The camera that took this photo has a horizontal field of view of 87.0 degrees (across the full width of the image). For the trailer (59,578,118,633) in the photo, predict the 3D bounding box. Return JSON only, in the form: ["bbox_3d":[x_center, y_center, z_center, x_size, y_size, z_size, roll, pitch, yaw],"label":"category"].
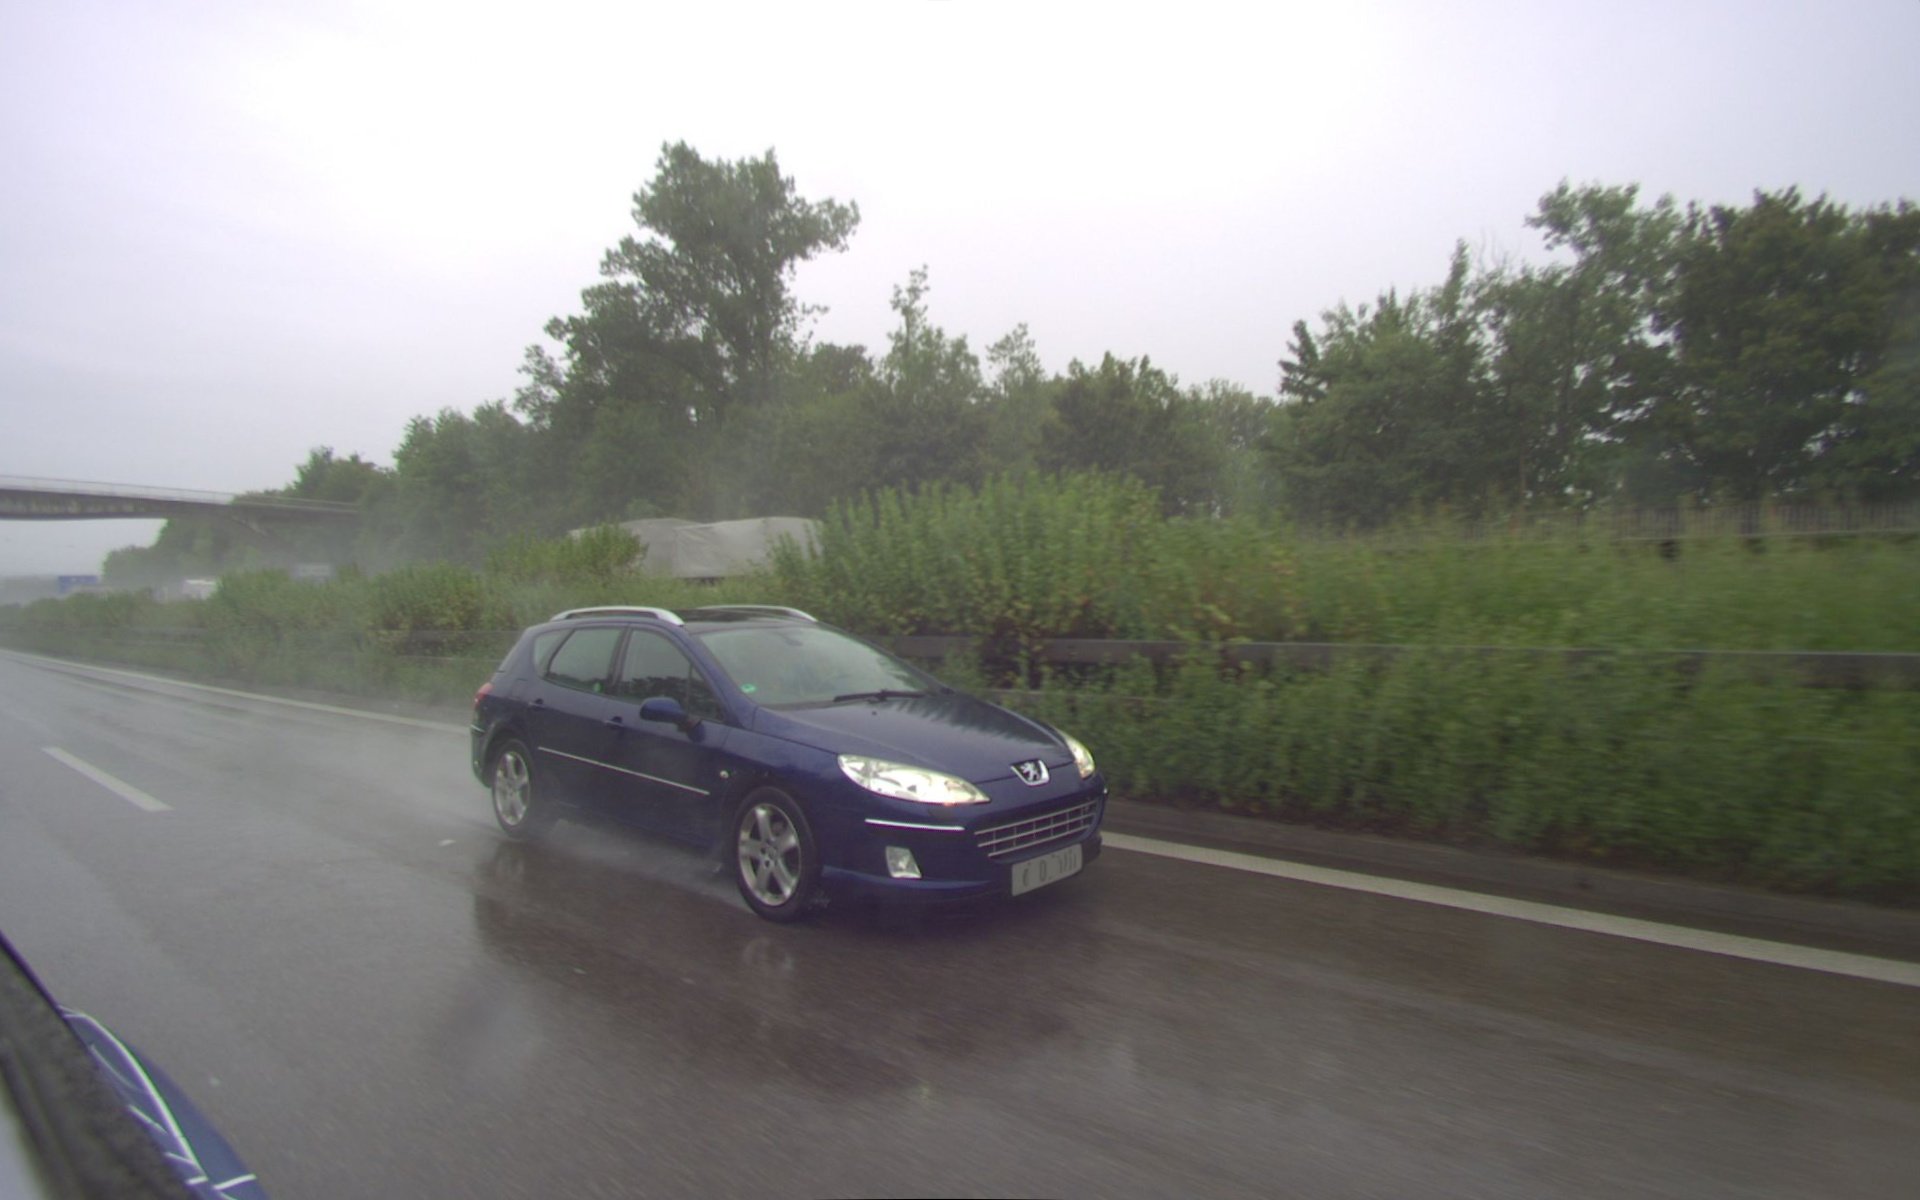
[{"bbox_3d":[-91.417,0.675,106.011,11.546,5.499,3.391,-1,-1,43],"label":"trailer"}]

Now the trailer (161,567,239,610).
[{"bbox_3d":[-66.218,-0.875,87.995,11.546,3.410,3.391,-1,-1,43],"label":"trailer"}]

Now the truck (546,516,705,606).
[{"bbox_3d":[-10.344,-1.100,31.096,5.340,2.441,2.216,-1,0,41],"label":"truck"}]

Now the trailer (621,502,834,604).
[{"bbox_3d":[-6.521,-1.156,27.726,6.645,2.446,2.247,-1,0,42],"label":"trailer"}]

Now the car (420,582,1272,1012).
[{"bbox_3d":[-1.048,0.701,5.987,5.154,1.496,2.033,-1,0,40],"label":"car"}]

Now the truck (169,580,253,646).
[{"bbox_3d":[-49.199,0.867,66.411,7.705,4.048,3.002,-1,-1,42],"label":"truck"}]
